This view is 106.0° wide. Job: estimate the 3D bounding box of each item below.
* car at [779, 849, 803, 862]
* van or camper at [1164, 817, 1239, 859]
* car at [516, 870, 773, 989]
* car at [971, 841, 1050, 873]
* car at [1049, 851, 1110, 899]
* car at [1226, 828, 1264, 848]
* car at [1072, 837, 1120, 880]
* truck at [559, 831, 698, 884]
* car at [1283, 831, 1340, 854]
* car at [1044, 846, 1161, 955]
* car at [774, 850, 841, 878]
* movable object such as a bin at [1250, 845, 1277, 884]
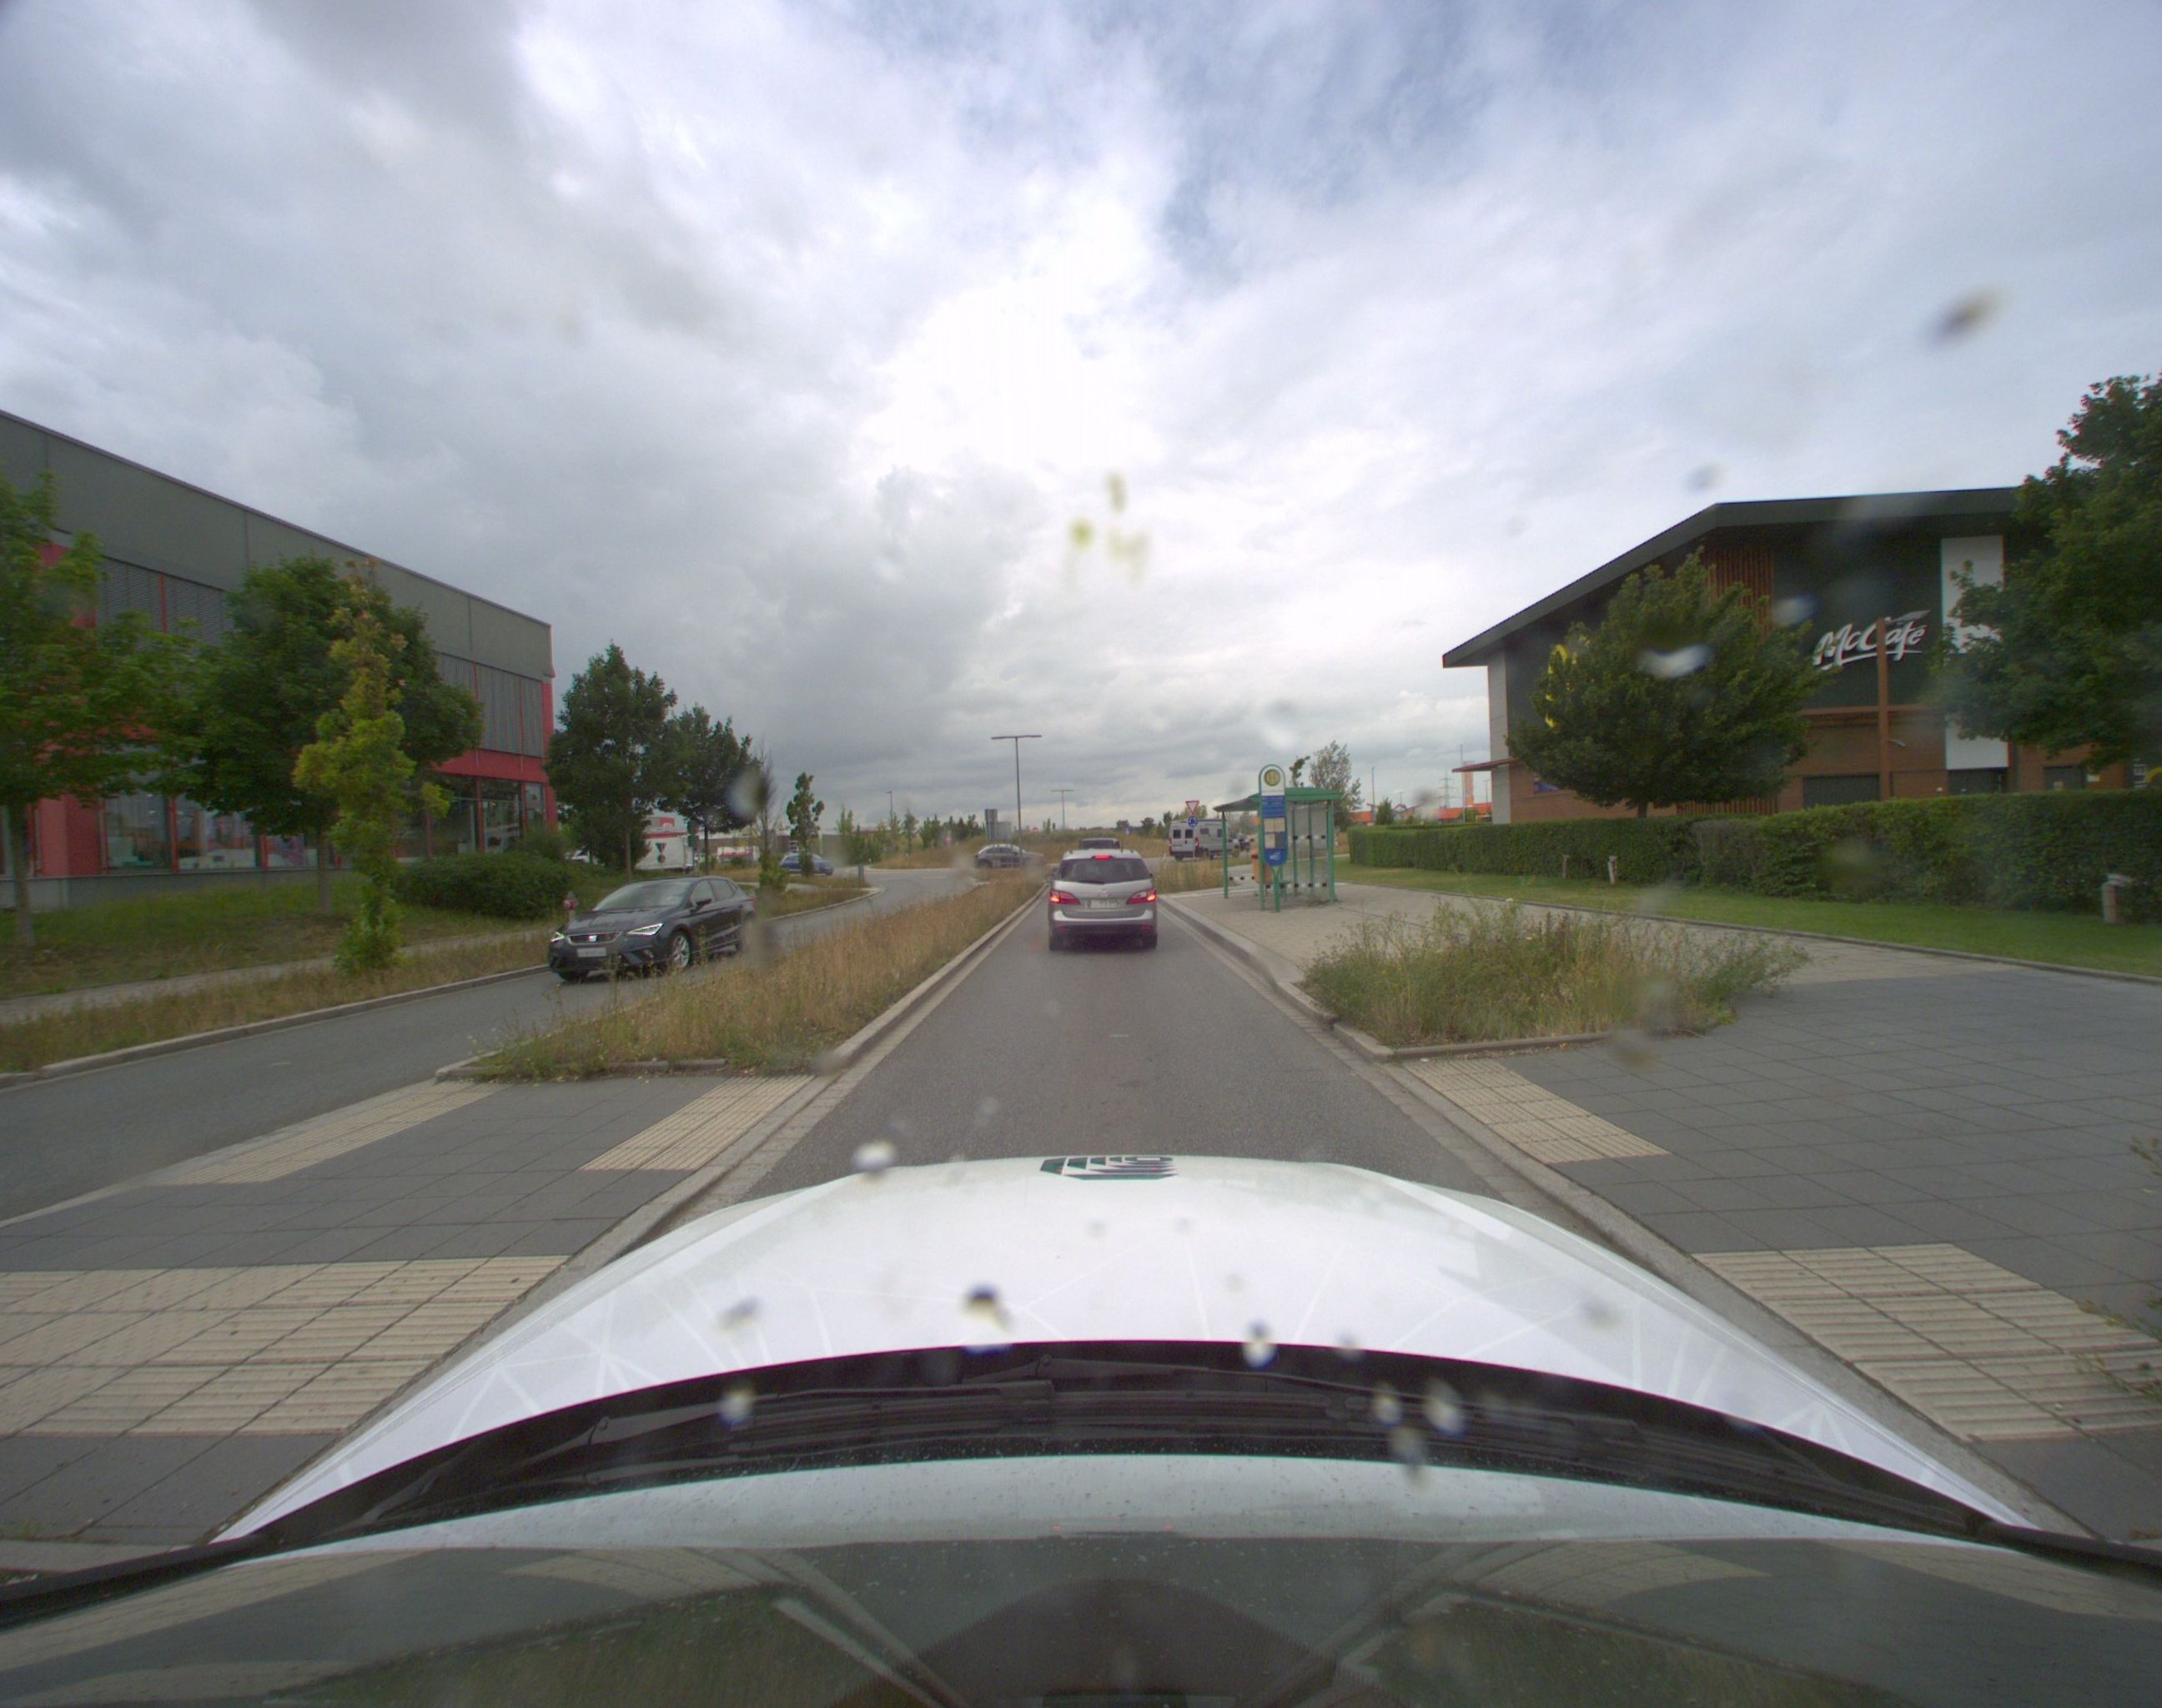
[{"bbox_3d":[-43.049,0.218,121.143,1.986,1.859,4.002,-1,0,2],"label":"car"},{"bbox_3d":[7.596,-1.003,50.893,2.280,2.506,5.239,-1,0,38],"label":"van or camper"},{"bbox_3d":[-6.725,1.076,13.137,1.835,1.407,4.000,-4,0,1],"label":"car"},{"bbox_3d":[-4.050,0.146,47.441,4.170,1.592,2.068,-3,1,5],"label":"car"},{"bbox_3d":[0.025,0.661,28.070,1.837,1.418,4.227,-2,1,2],"label":"car"},{"bbox_3d":[13.221,-1.266,65.828,1.990,1.515,3.994,-2,0,-4],"label":"car"},{"bbox_3d":[0.765,0.186,37.788,2.050,1.826,4.790,-2,0,3],"label":"car"},{"bbox_3d":[-37.178,0.279,67.285,9.311,3.906,3.131,-2,0,-12],"label":"truck"},{"bbox_3d":[19.610,-0.955,69.459,4.572,1.757,2.006,-2,0,11],"label":"car"},{"bbox_3d":[0.317,0.672,14.055,1.724,1.600,3.806,-1,1,0],"label":"car"},{"bbox_3d":[-17.980,0.666,53.496,4.173,1.528,1.859,-4,0,33],"label":"car"},{"bbox_3d":[3.868,0.215,17.252,0.454,0.798,0.380,-2,0,0],"label":"movable object such as a bin"}]
